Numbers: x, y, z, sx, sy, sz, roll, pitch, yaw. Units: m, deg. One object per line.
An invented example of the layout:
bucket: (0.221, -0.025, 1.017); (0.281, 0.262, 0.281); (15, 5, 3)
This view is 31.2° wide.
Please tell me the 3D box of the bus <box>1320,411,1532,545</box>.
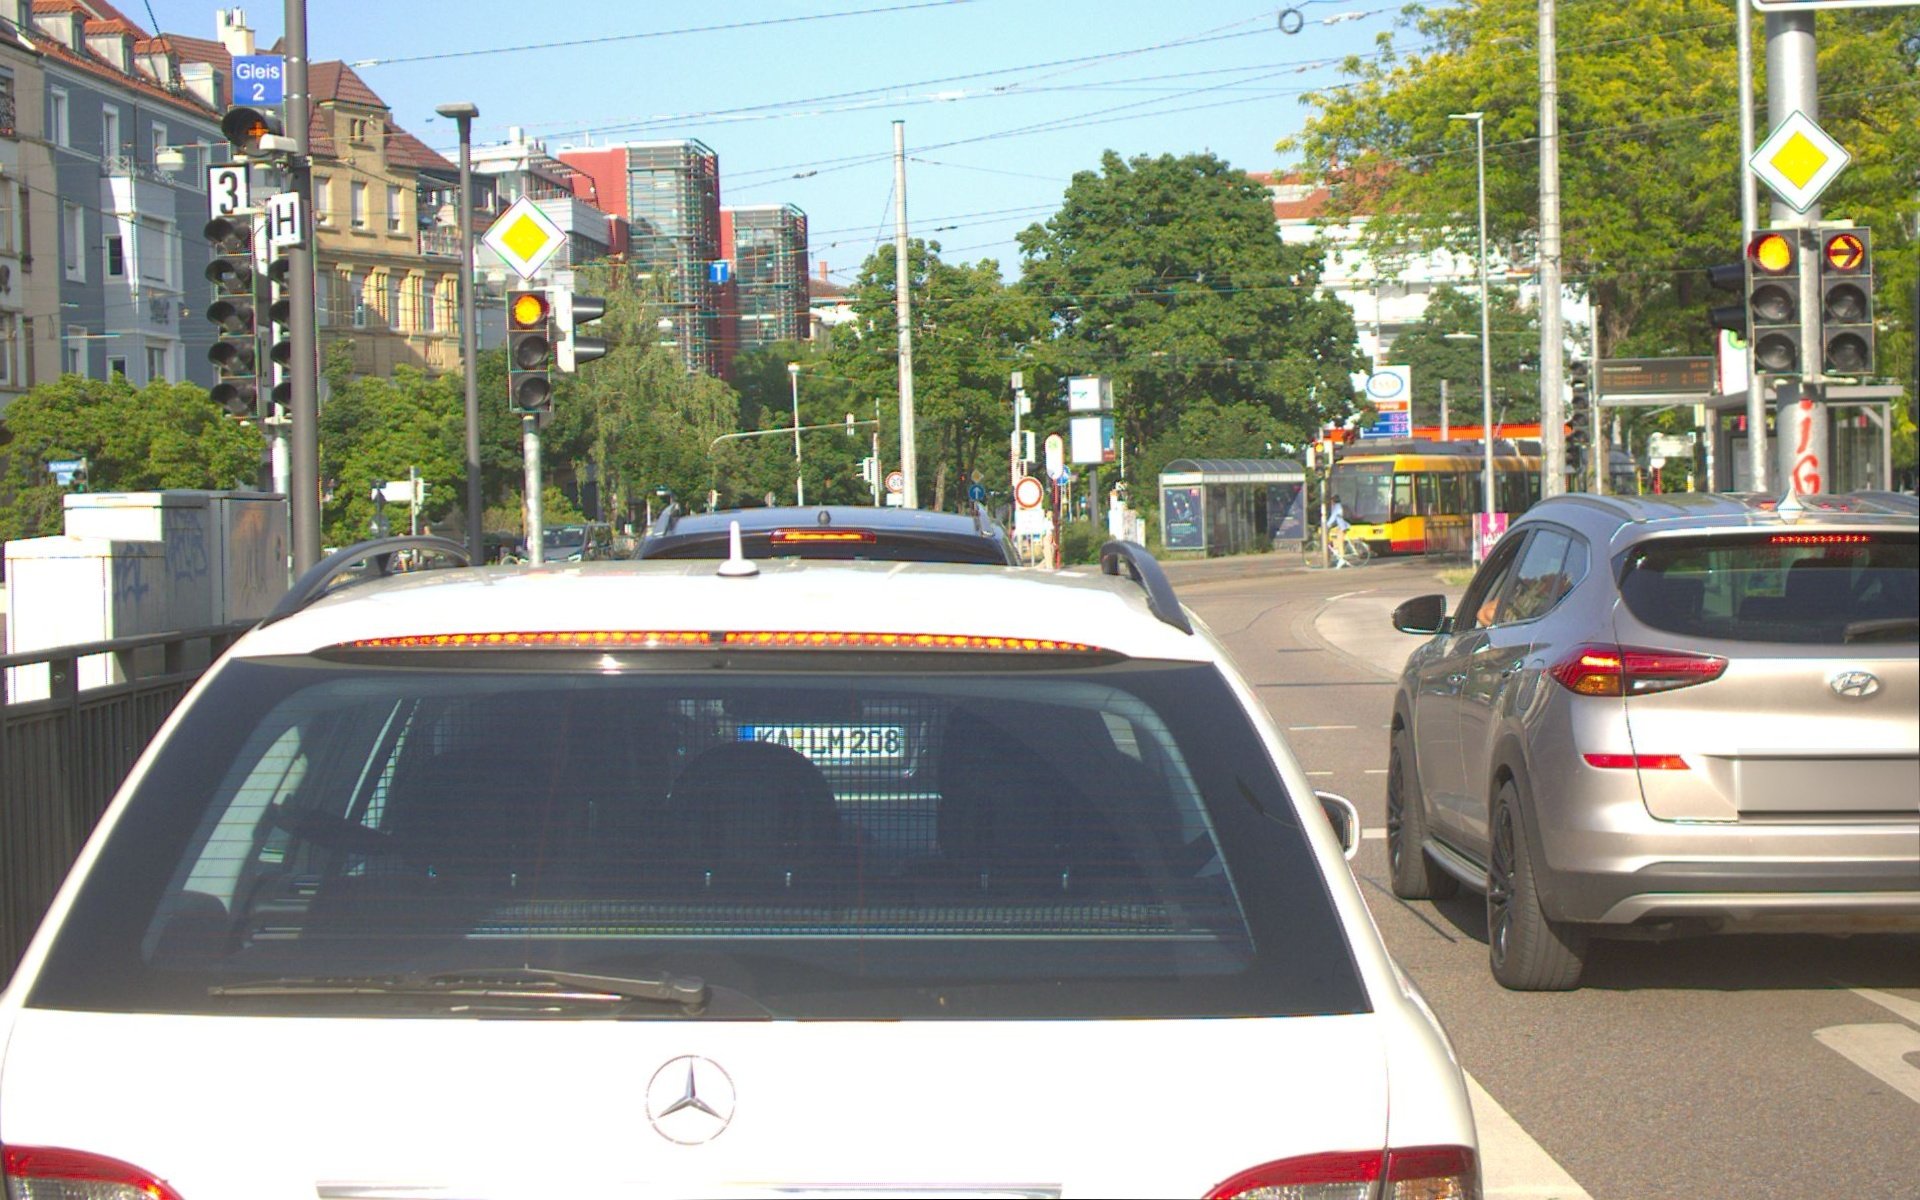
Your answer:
bus: (13.864, -3.465, 101.096); (3.112, 3.593, 12.360); (1, 1, 22)

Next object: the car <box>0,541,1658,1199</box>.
car: (-0.287, 0.655, 4.982); (1.796, 1.465, 3.648); (0, 1, -1)

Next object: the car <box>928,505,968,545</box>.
car: (-0.642, -3.886, 178.736); (1.993, 2.007, 4.000); (1, 1, -1)

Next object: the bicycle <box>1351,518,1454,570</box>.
bicycle: (10.905, -1.382, 84.750); (2.483, 1.209, 0.806); (-1, 1, 8)

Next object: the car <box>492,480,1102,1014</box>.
car: (-0.525, 0.421, 12.557); (1.885, 1.645, 3.648); (1, 1, 0)

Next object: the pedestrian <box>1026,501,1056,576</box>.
pedestrian: (2.047, -1.553, 86.791); (0.642, 1.850, 0.551); (-1, 1, 11)

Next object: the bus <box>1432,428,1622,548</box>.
bus: (18.718, -3.561, 112.626); (3.112, 3.593, 12.575); (1, 1, 23)

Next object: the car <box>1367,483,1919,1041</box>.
car: (2.635, 0.438, 12.175); (1.885, 1.645, 3.648); (-2, 1, 0)
